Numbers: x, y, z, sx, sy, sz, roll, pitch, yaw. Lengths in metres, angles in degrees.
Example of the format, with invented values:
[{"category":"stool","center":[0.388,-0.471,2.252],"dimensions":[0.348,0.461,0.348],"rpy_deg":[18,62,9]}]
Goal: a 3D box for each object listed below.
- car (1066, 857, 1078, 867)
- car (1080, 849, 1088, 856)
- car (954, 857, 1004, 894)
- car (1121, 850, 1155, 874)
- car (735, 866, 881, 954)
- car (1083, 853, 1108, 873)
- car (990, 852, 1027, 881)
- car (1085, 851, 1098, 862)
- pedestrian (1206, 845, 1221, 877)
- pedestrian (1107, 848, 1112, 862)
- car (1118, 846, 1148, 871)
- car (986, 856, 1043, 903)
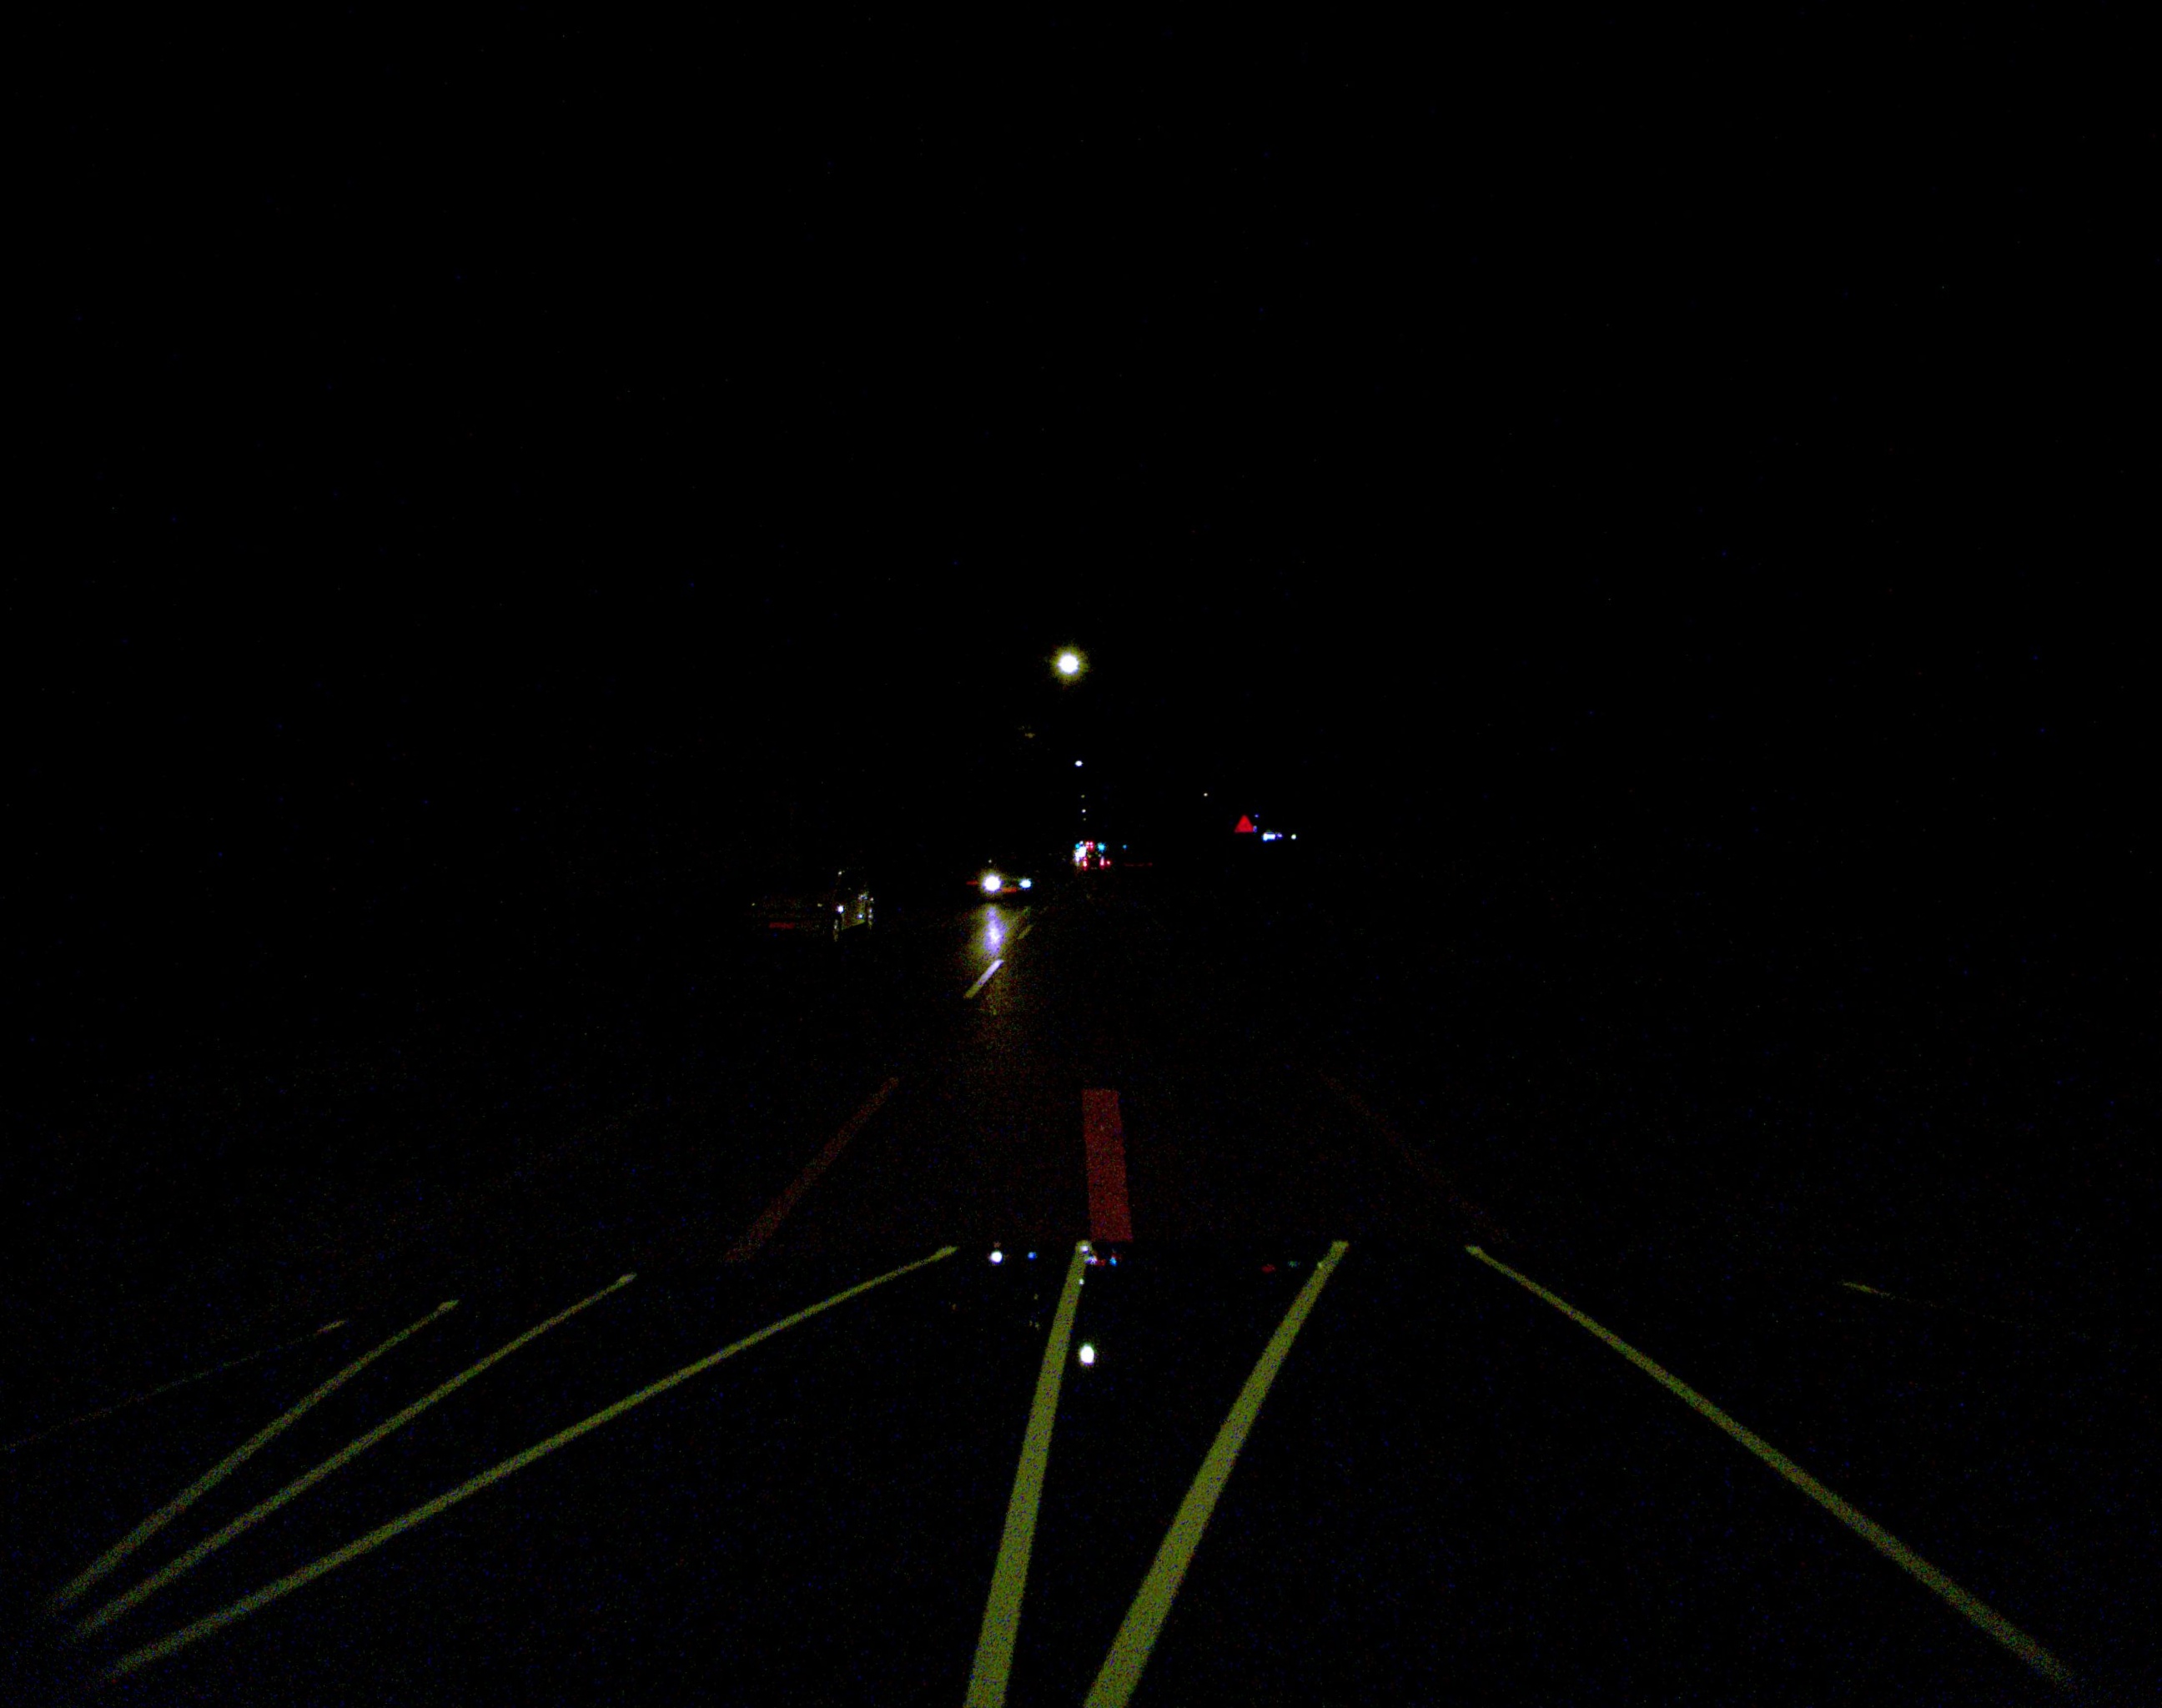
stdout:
[{"category":"car","center":[-1.532,1.369,134.865],"dimensions":[1.998,1.718,3.803],"rpy_deg":[-2,1,1]},{"category":"car","center":[0.770,-0.380,208.783],"dimensions":[1.998,1.740,3.999],"rpy_deg":[-2,1,1]},{"category":"car","center":[-4.476,0.904,33.945],"dimensions":[1.742,1.489,3.890],"rpy_deg":[-1,0,-1]},{"category":"car","center":[3.882,0.513,52.079],"dimensions":[1.998,1.477,3.999],"rpy_deg":[-3,1,1]},{"category":"car","center":[-5.260,1.014,15.101],"dimensions":[1.611,1.500,3.486],"rpy_deg":[0,0,1]},{"category":"car","center":[1.137,0.719,60.241],"dimensions":[1.755,1.433,3.487],"rpy_deg":[-2,-2,-2]},{"category":"car","center":[-4.467,0.751,47.478],"dimensions":[1.852,1.643,4.179],"rpy_deg":[-2,0,0]},{"category":"car","center":[1.775,0.399,125.384],"dimensions":[1.903,1.581,3.661],"rpy_deg":[-2,1,4]},{"category":"pedestrian","center":[7.353,0.392,42.256],"dimensions":[0.673,1.750,0.500],"rpy_deg":[-2,1,1]},{"category":"pedestrian","center":[4.414,0.149,117.875],"dimensions":[0.804,2.002,0.940],"rpy_deg":[-2,1,1]},{"category":"car","center":[3.873,0.300,57.037],"dimensions":[1.998,1.772,3.999],"rpy_deg":[-2,1,1]},{"category":"car","center":[-2.372,0.890,28.085],"dimensions":[1.780,1.477,3.999],"rpy_deg":[-2,1,-1]}]
